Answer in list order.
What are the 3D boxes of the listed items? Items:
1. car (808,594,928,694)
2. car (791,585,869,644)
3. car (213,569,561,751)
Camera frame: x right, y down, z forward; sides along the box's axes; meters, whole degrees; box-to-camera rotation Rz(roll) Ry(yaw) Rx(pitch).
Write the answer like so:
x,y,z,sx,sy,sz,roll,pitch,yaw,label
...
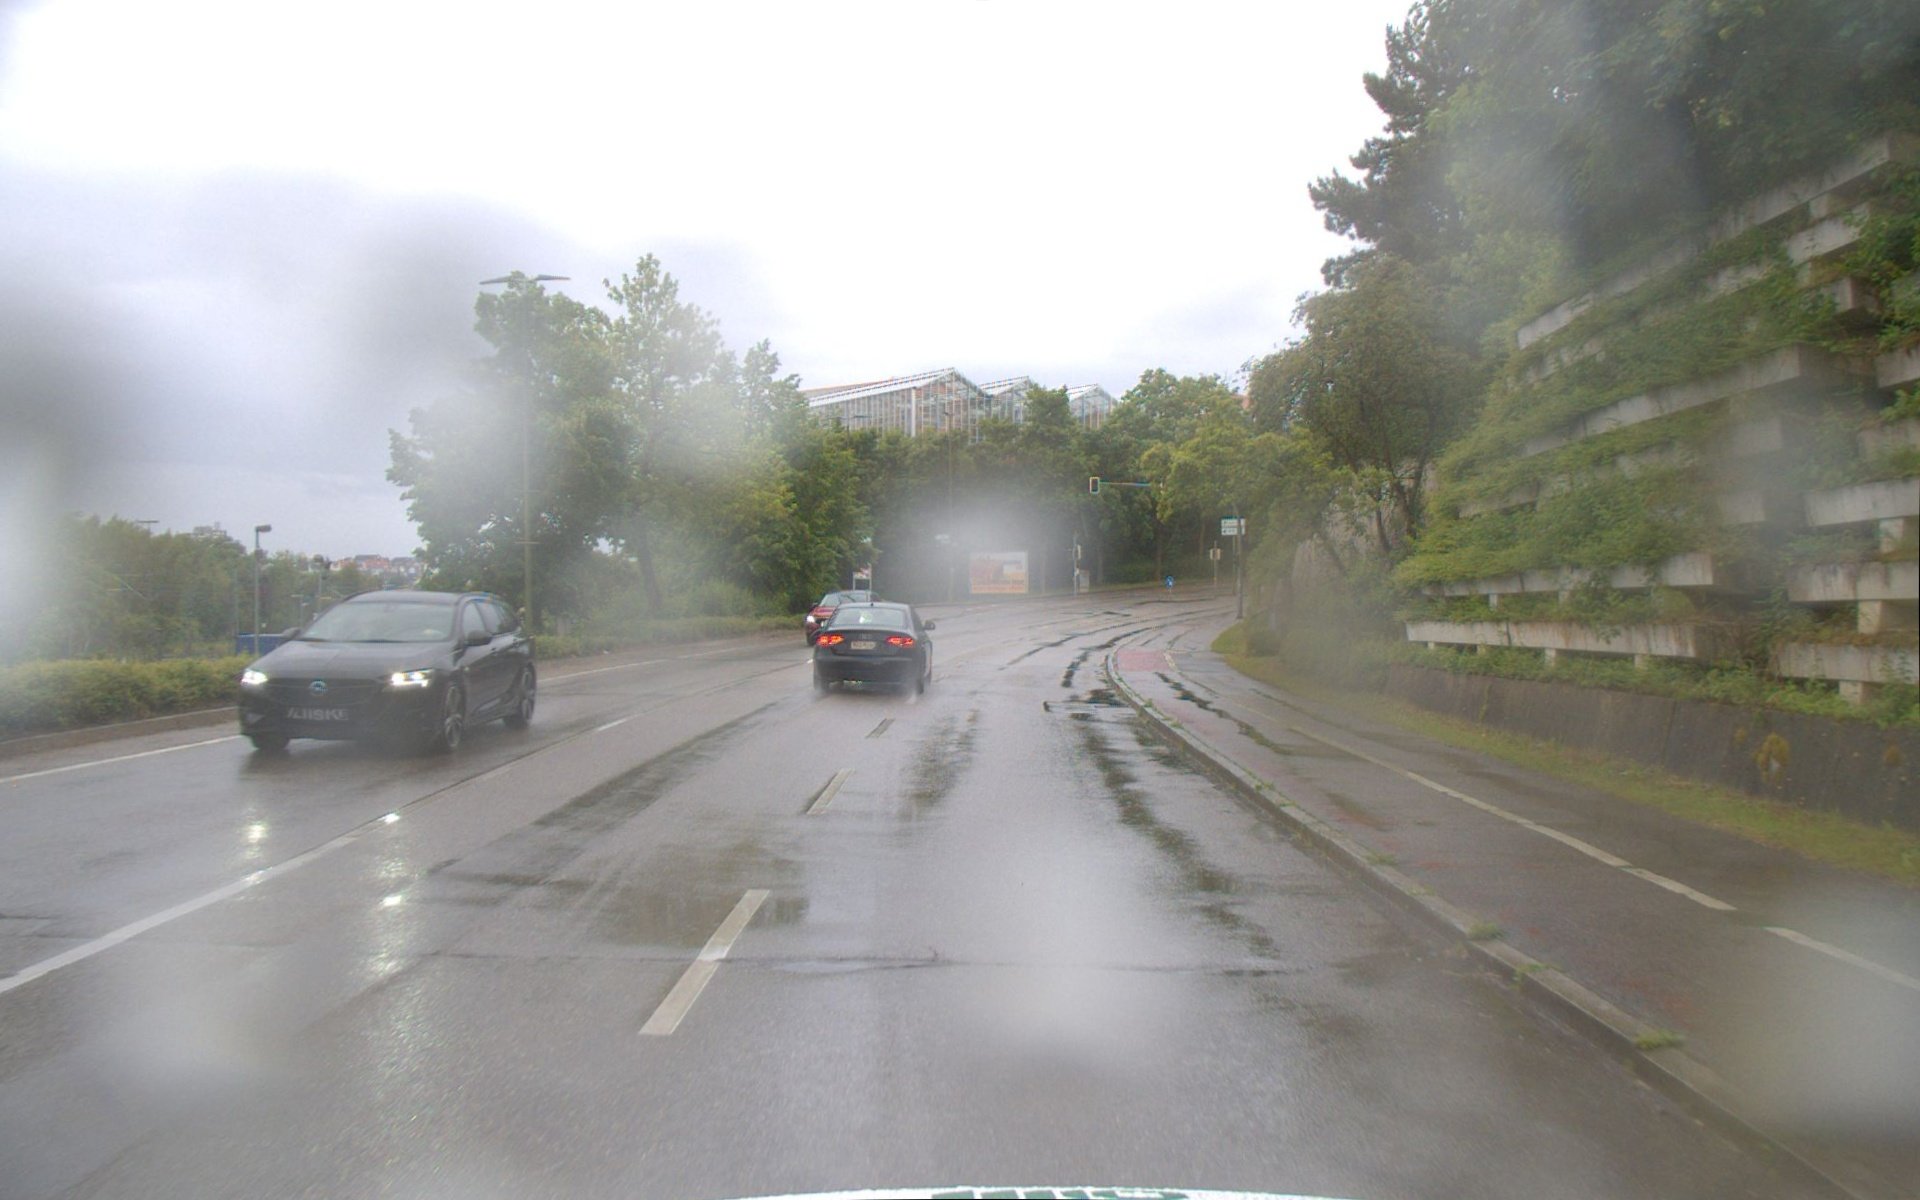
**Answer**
x,y,z,sx,sy,sz,roll,pitch,yaw,label
-1.427,0.660,26.866,1.718,1.420,4.000,0,1,0,car
-3.716,0.389,47.955,1.717,1.562,4.002,0,1,3,car
-5.398,0.506,16.265,1.688,1.487,4.544,2,0,1,car
